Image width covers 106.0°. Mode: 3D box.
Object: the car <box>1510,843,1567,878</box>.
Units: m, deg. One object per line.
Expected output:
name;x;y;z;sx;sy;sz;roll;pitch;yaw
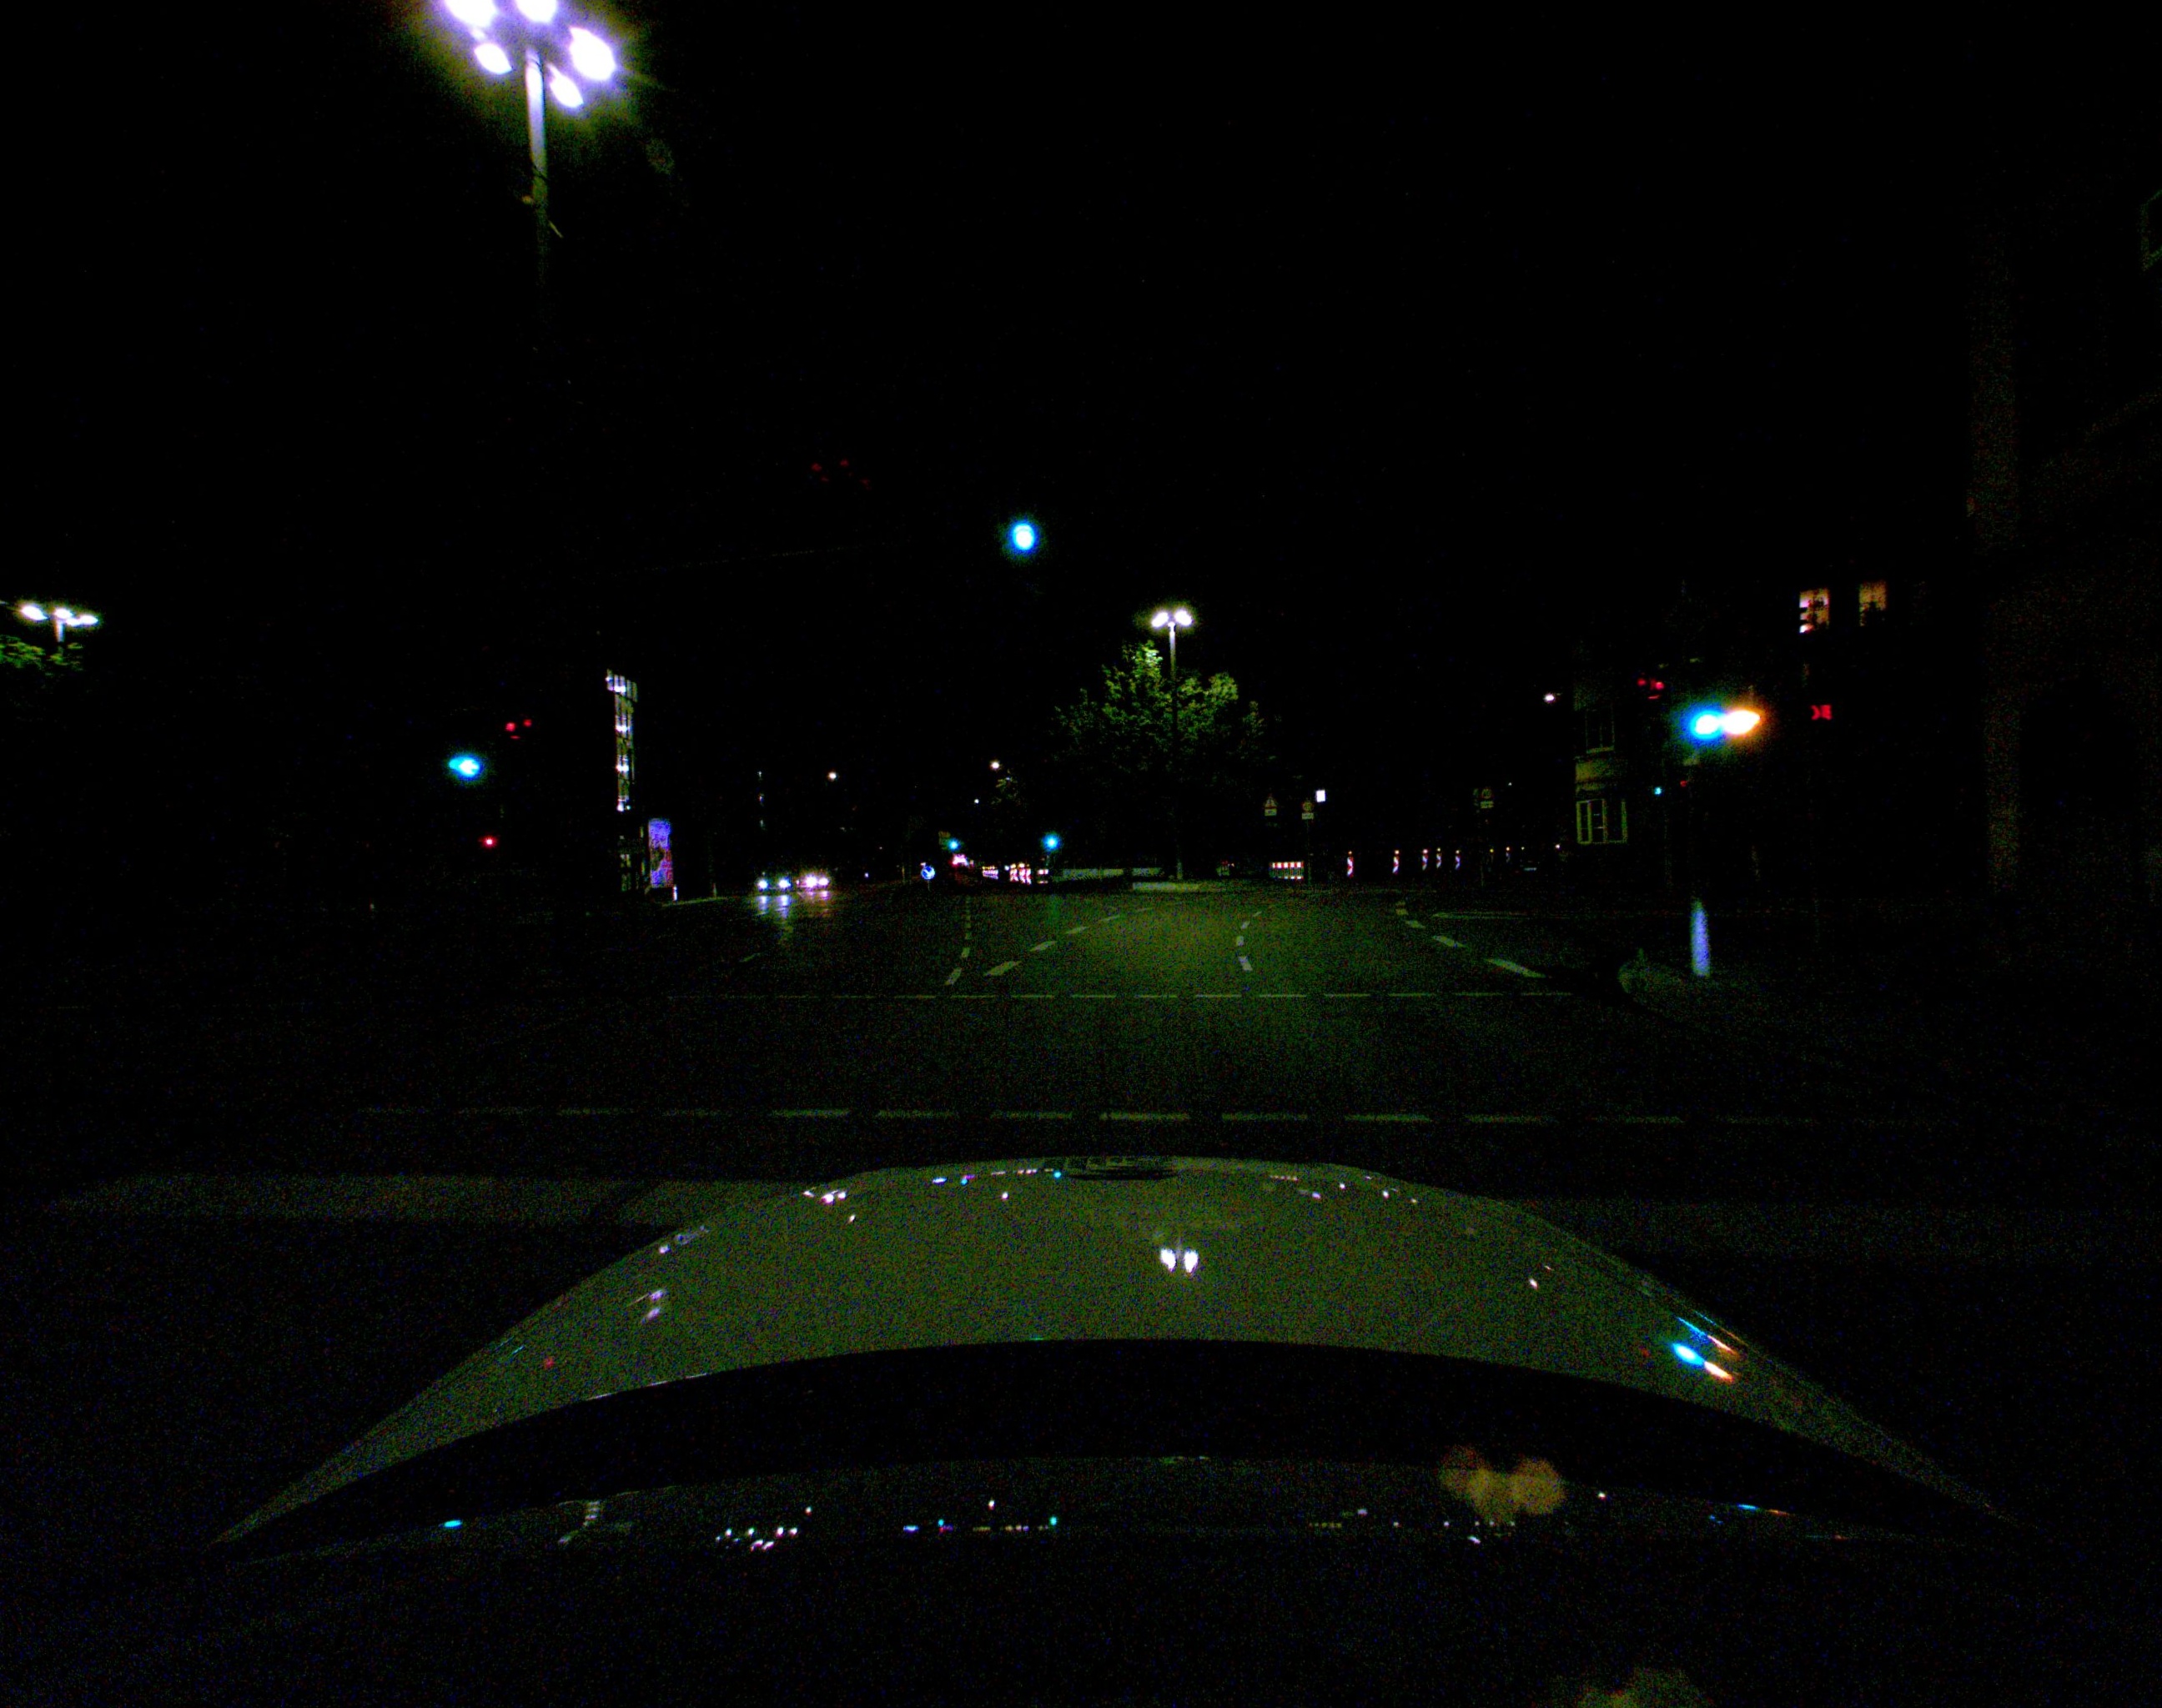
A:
car;22.513;0.317;40.050;1.711;1.612;3.646;-3;-2;41

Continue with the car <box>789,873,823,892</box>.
car;-20.729;2.154;61.562;1.756;1.322;3.538;-1;-1;-8

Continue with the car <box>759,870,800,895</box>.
car;-19.989;1.879;54.162;1.614;1.515;3.990;-1;-1;-7

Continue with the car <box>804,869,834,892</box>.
car;-21.469;2.160;66.860;1.756;1.728;3.538;-1;-1;-8
